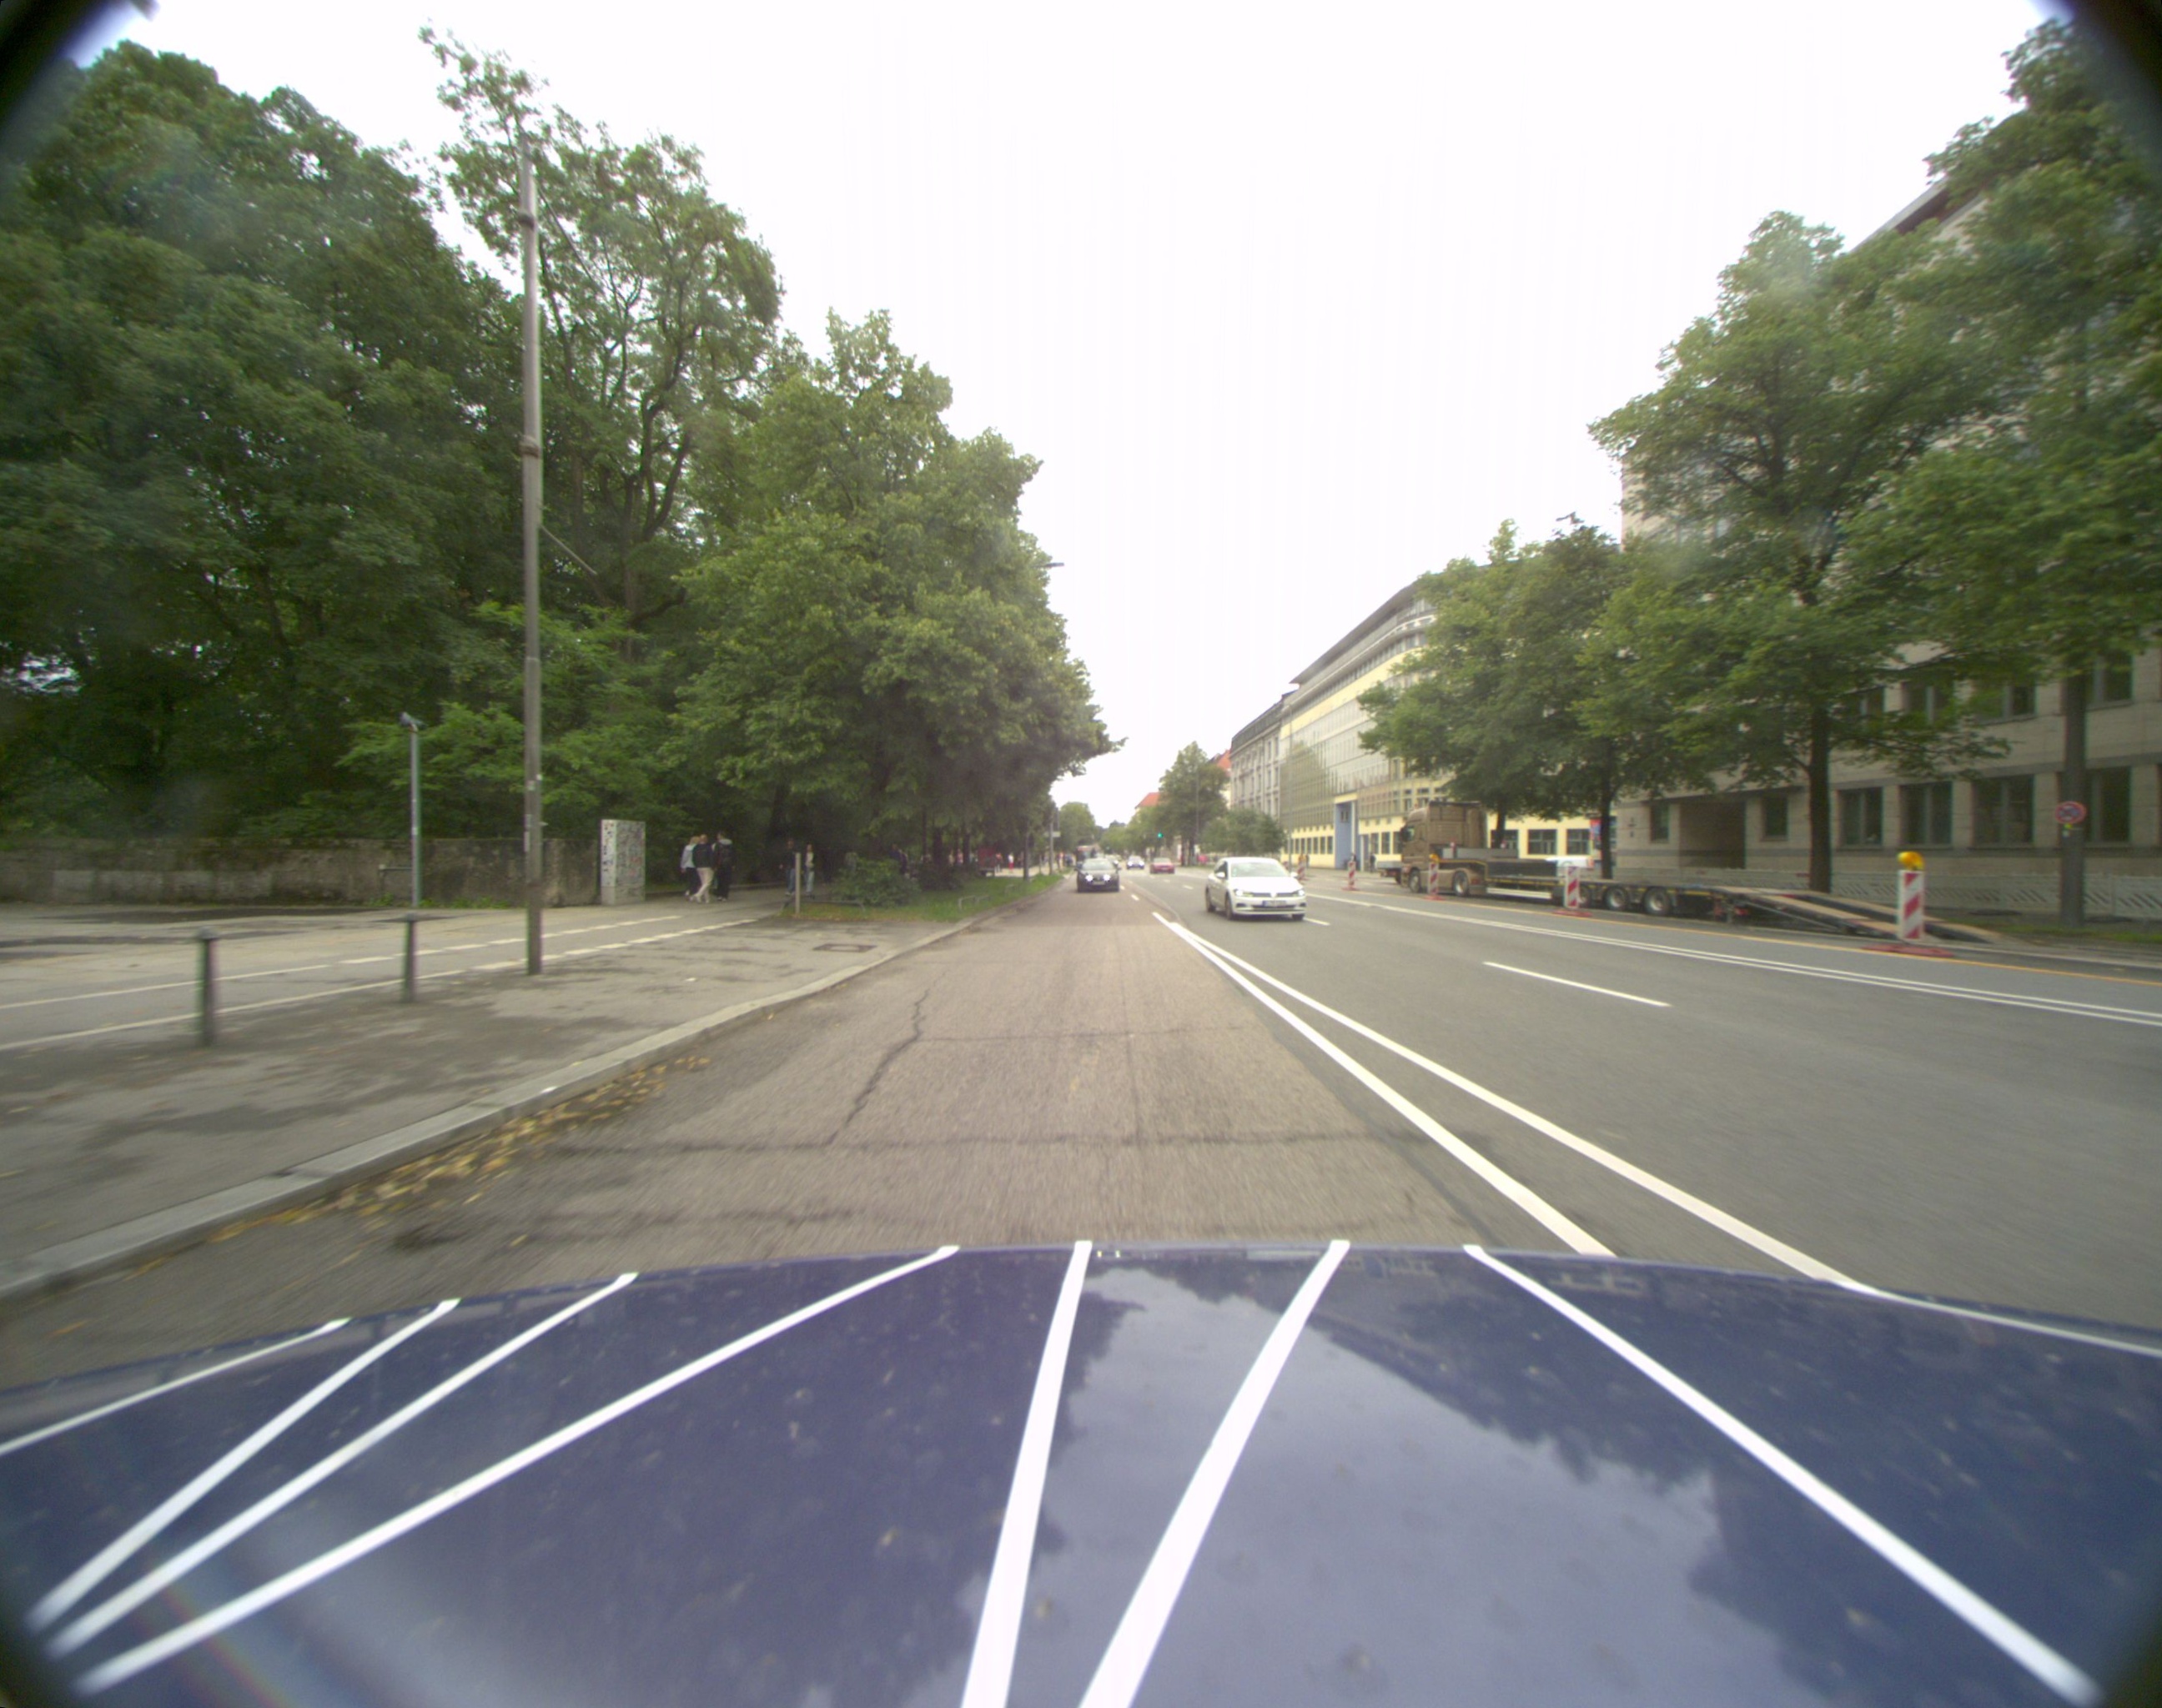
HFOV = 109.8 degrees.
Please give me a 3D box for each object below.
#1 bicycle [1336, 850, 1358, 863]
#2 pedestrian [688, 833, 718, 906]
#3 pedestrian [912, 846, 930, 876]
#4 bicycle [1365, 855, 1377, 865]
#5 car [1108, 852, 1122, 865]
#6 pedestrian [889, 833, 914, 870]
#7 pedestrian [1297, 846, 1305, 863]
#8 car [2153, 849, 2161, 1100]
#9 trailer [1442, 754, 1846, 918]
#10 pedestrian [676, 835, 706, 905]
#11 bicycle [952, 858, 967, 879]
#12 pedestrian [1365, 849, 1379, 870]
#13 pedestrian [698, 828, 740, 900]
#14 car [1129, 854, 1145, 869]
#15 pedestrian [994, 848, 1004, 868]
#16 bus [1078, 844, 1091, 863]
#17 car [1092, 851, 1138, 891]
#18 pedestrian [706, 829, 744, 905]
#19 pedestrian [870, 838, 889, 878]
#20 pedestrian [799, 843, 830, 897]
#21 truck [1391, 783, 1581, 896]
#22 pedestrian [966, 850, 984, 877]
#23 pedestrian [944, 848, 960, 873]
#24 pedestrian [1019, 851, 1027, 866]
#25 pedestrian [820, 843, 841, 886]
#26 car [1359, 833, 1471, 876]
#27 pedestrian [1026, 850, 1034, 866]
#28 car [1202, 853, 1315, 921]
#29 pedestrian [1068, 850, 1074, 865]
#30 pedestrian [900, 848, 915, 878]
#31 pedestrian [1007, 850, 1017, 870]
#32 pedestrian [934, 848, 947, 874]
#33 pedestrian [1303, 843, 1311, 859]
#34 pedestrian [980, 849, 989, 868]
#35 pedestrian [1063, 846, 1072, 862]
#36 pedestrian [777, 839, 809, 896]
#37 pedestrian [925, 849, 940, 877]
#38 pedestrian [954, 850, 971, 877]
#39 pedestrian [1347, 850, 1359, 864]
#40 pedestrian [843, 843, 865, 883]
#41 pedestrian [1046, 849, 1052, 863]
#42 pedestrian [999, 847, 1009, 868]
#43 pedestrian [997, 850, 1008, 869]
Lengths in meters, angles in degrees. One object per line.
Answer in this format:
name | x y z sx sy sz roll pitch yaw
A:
bicycle | 27.189 0.245 77.726 2.014 1.311 0.638 -1 1 -5
pedestrian | -9.504 0.391 19.137 0.597 1.798 0.723 2 1 -24
pedestrian | -8.433 0.381 40.080 0.682 1.557 0.872 -1 1 1
bicycle | 26.188 0.537 68.604 0.478 0.872 1.737 0 0 4
car | 4.351 0.575 98.008 1.638 1.562 3.946 0 0 1
pedestrian | -8.431 -0.126 35.738 0.755 1.727 0.851 -1 1 16
pedestrian | 24.273 0.064 83.757 0.617 1.766 0.836 -1 1 1
car | 7.370 0.738 2.438 1.696 1.507 4.338 0 0 -1
trailer | 15.788 -0.448 23.351 2.958 3.718 11.765 -1 0 -4
pedestrian | -10.232 0.417 19.944 0.597 1.798 0.723 2 1 -24
bicycle | -6.075 0.697 38.023 0.385 1.015 2.079 -1 0 1
pedestrian | 24.866 0.454 64.904 0.992 1.723 0.816 -1 1 31
pedestrian | -10.461 0.290 21.979 0.765 2.002 0.776 3 1 1
car | 6.292 0.825 85.760 1.638 1.562 3.946 0 0 1
pedestrian | -7.557 0.362 69.970 0.610 1.862 0.694 -1 1 17
bus | 0.528 -0.065 102.537 1.638 2.570 6.701 0 0 1
car | 1.413 0.685 32.966 1.797 1.627 4.274 0 1 0
pedestrian | -9.556 0.345 20.410 0.595 2.002 0.724 2 1 1
pedestrian | -9.337 0.178 35.268 0.589 1.812 0.850 -1 1 1
pedestrian | -8.326 0.493 23.740 0.609 1.671 0.754 -1 1 4
truck | 15.330 -0.508 29.633 2.924 3.753 7.662 -1 0 -4
pedestrian | -6.556 0.580 47.066 0.755 1.634 0.851 -1 1 16
pedestrian | -8.739 0.446 51.454 0.755 1.634 0.691 -1 1 16
pedestrian | -6.200 0.482 81.668 0.728 1.681 0.648 -1 1 5
pedestrian | -9.965 0.413 30.193 0.581 1.666 0.553 -1 1 4
car | 19.828 0.038 45.260 5.696 2.522 2.156 0 1 -3
pedestrian | -5.433 0.430 81.606 0.728 1.681 0.648 -1 1 5
car | 4.223 0.727 18.759 1.797 1.439 4.274 0 1 0
pedestrian | -1.192 0.380 92.559 0.710 1.798 0.639 -1 1 0
pedestrian | -9.410 0.468 41.202 0.682 1.628 0.601 1 1 1
pedestrian | -5.942 0.513 65.632 0.728 1.681 0.648 -1 1 6
pedestrian | -10.183 0.524 55.146 0.694 1.862 0.610 -2 1 -34
pedestrian | 24.929 -0.373 83.745 0.617 1.766 0.836 -1 1 1
pedestrian | -9.808 0.500 77.251 0.814 1.906 0.729 -1 1 3
pedestrian | -1.598 0.034 90.833 0.803 1.870 0.545 -1 1 37
pedestrian | -8.987 0.409 23.762 0.609 1.753 0.797 -1 1 4
pedestrian | -8.090 0.501 41.410 0.682 1.506 0.562 -1 1 1
pedestrian | -7.391 0.597 47.342 0.755 1.634 0.851 -1 1 16
pedestrian | 26.626 0.281 74.356 0.839 1.356 1.086 0 0 0
pedestrian | -10.132 0.406 33.914 0.632 1.763 0.782 -1 1 4
pedestrian | -4.341 0.235 102.181 0.710 1.904 0.956 -1 1 0
pedestrian | -7.120 0.343 70.286 0.610 1.903 0.694 -1 1 17
pedestrian | -6.869 0.505 66.323 0.694 1.642 0.610 -2 1 -32
